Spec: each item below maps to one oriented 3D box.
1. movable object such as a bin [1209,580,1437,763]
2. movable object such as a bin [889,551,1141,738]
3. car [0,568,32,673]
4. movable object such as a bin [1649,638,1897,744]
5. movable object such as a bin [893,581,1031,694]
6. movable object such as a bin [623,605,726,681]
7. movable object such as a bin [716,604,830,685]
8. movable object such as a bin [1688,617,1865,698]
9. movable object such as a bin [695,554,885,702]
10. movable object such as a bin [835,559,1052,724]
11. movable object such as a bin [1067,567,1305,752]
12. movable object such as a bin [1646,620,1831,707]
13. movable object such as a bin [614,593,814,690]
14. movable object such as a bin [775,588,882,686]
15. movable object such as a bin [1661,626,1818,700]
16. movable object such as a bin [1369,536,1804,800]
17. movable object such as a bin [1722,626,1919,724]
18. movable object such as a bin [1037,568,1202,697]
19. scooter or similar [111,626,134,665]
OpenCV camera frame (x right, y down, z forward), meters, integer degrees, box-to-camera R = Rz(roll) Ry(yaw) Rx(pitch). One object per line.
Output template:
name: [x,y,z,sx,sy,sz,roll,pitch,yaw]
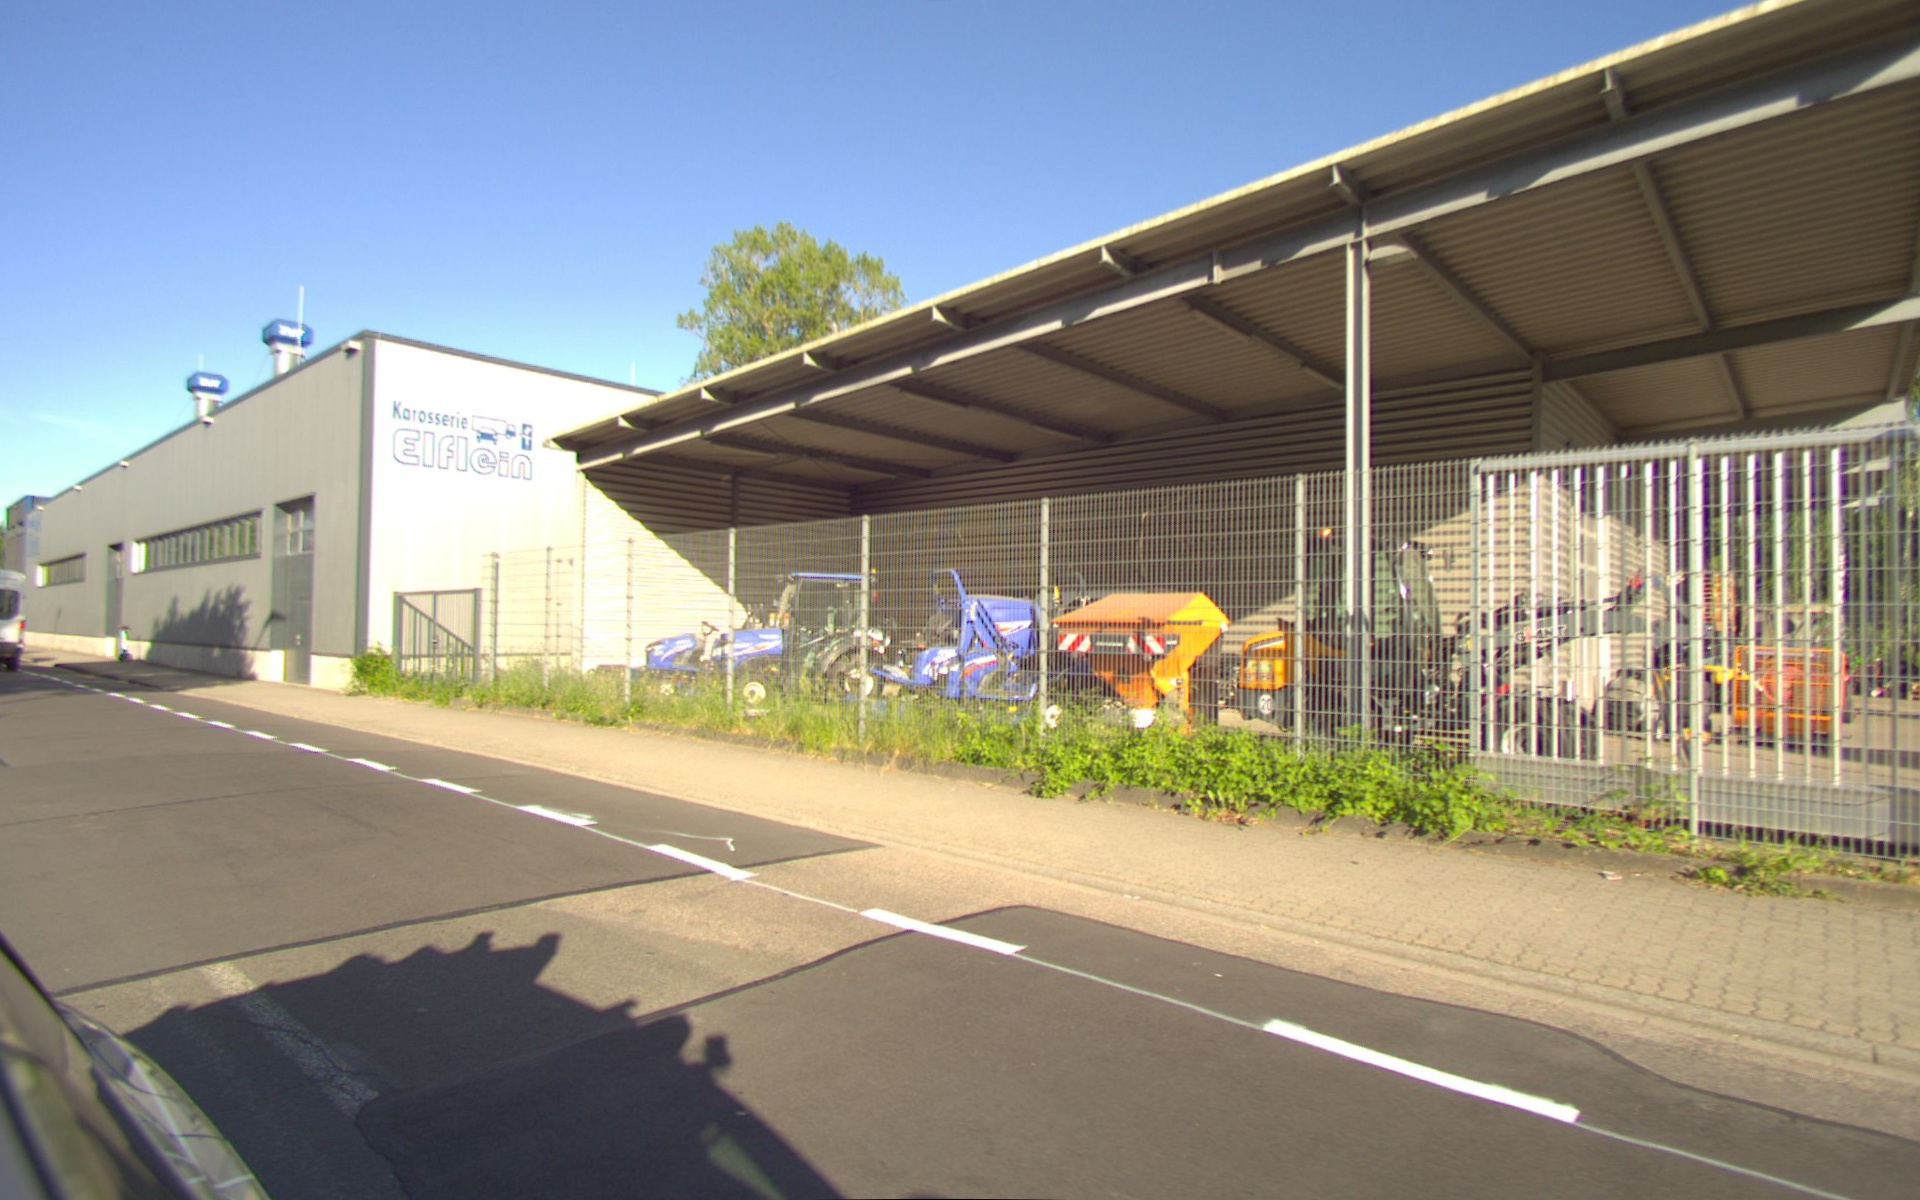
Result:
movable object such as a bin: [3.970,0.713,10.905,1.524,1.693,2.611,-1,-2,40]
movable object such as a bin: [0.686,0.562,12.990,2.839,2.165,1.504,1,-2,-22]
car: [-28.269,0.507,28.633,5.923,2.801,2.101,0,-4,41]
movable object such as a bin: [11.400,1.219,14.342,2.633,1.342,1.155,-1,-2,39]
movable object such as a bin: [0.039,0.737,20.302,2.310,2.108,1.560,-1,-2,39]
movable object such as a bin: [-5.623,0.835,19.976,1.324,1.413,1.454,-1,-2,39]
movable object such as a bin: [-3.985,0.928,21.541,1.955,1.622,1.454,-1,-2,39]
movable object such as a bin: [16.759,1.133,20.842,2.756,1.502,1.314,1,-1,41]
movable object such as a bin: [-2.722,0.457,16.086,2.725,2.181,1.528,1,-2,-19]
movable object such as a bin: [-0.237,0.583,14.389,2.752,2.142,1.389,1,-2,-23]
movable object such as a bin: [2.716,0.652,11.811,1.524,1.849,3.008,-1,-2,40]
movable object such as a bin: [15.058,1.184,19.625,2.756,1.502,1.314,1,-1,41]
movable object such as a bin: [-4.455,0.751,18.231,3.346,1.625,1.631,1,-2,-19]
movable object such as a bin: [-2.962,0.822,22.847,1.846,2.108,1.560,-1,-2,39]
movable object such as a bin: [17.617,1.380,22.924,2.755,1.502,1.314,1,-1,40]
movable object such as a bin: [5.532,0.547,9.116,3.093,1.949,1.641,-1,-2,39]
movable object such as a bin: [14.908,1.240,17.436,2.756,1.502,1.314,1,-1,41]
movable object such as a bin: [2.824,0.570,17.987,2.476,2.108,1.560,-1,-2,39]
scooter or similar: [-28.286,1.523,34.181,1.059,1.277,0.411,0,-2,42]
